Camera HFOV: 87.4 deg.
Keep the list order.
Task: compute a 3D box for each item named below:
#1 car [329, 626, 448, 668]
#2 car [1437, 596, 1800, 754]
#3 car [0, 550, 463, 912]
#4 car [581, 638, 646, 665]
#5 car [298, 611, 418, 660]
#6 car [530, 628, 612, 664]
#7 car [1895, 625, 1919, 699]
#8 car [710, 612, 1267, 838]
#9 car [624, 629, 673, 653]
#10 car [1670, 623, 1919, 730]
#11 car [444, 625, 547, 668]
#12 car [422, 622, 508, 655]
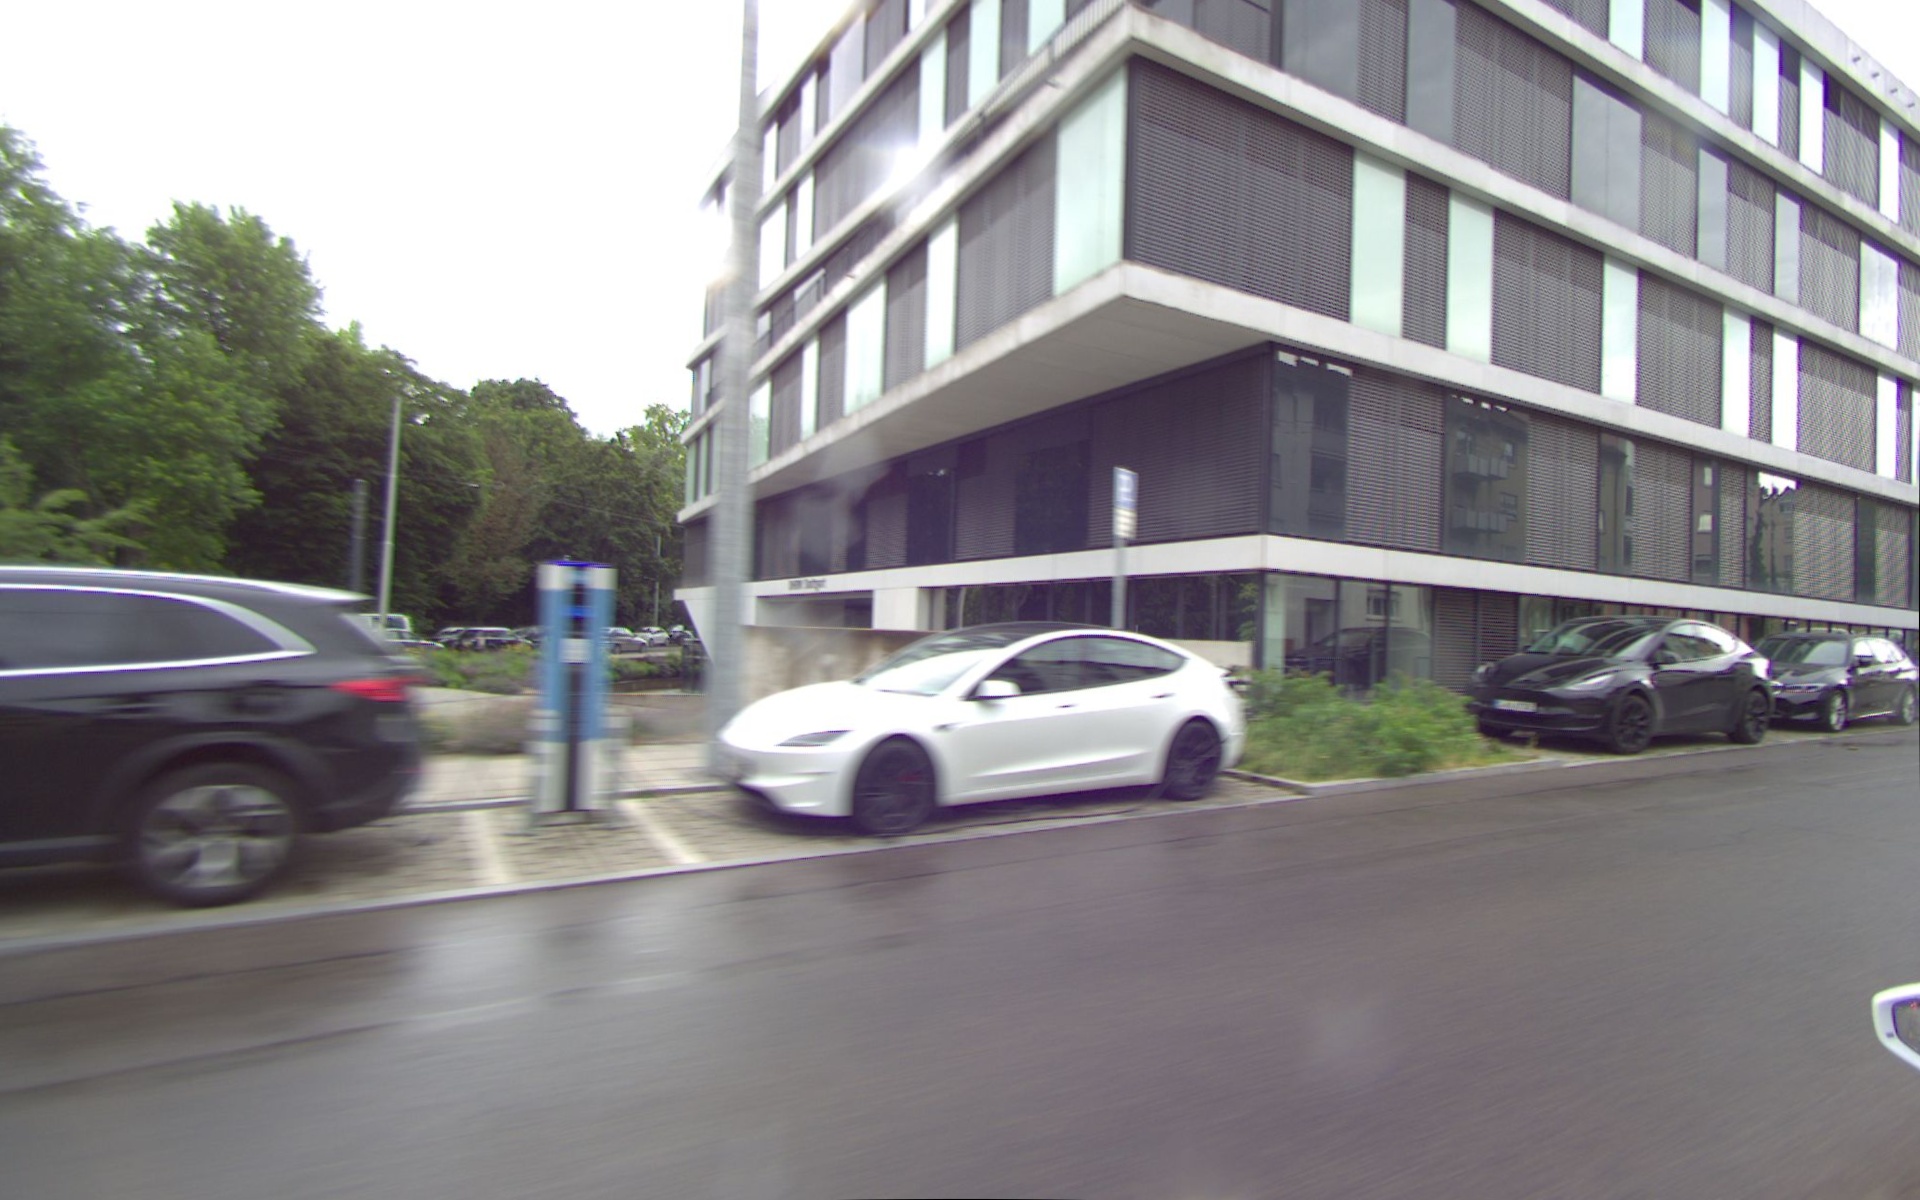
[{"bbox_3d":[-21.859,1.770,38.592,1.635,1.469,3.869,1,-1,18],"label":"car"},{"bbox_3d":[8.790,0.916,13.321,4.881,1.773,1.954,2,-1,-29],"label":"car"},{"bbox_3d":[-5.108,0.583,5.165,4.439,1.639,1.840,2,-1,-31],"label":"car"},{"bbox_3d":[-18.180,2.673,52.865,1.452,1.257,3.401,1,-1,18],"label":"car"},{"bbox_3d":[-28.330,1.622,47.468,2.125,2.124,4.841,2,-1,11],"label":"car"},{"bbox_3d":[-18.962,2.212,49.097,1.770,1.609,3.679,1,-1,18],"label":"car"},{"bbox_3d":[21.721,1.333,21.149,4.296,1.509,1.854,2,-1,-31],"label":"car"},{"bbox_3d":[0.332,0.880,8.376,4.351,1.437,1.812,2,-1,-31],"label":"car"},{"bbox_3d":[-22.324,2.928,72.131,1.711,1.628,3.869,2,-1,11],"label":"car"},{"bbox_3d":[13.796,1.187,16.401,4.686,1.492,1.862,2,-1,-31],"label":"car"},{"bbox_3d":[-20.509,2.008,44.494,1.883,1.762,4.001,1,-1,18],"label":"car"},{"bbox_3d":[-26.481,2.028,53.937,1.891,1.628,4.282,2,-1,11],"label":"car"}]
